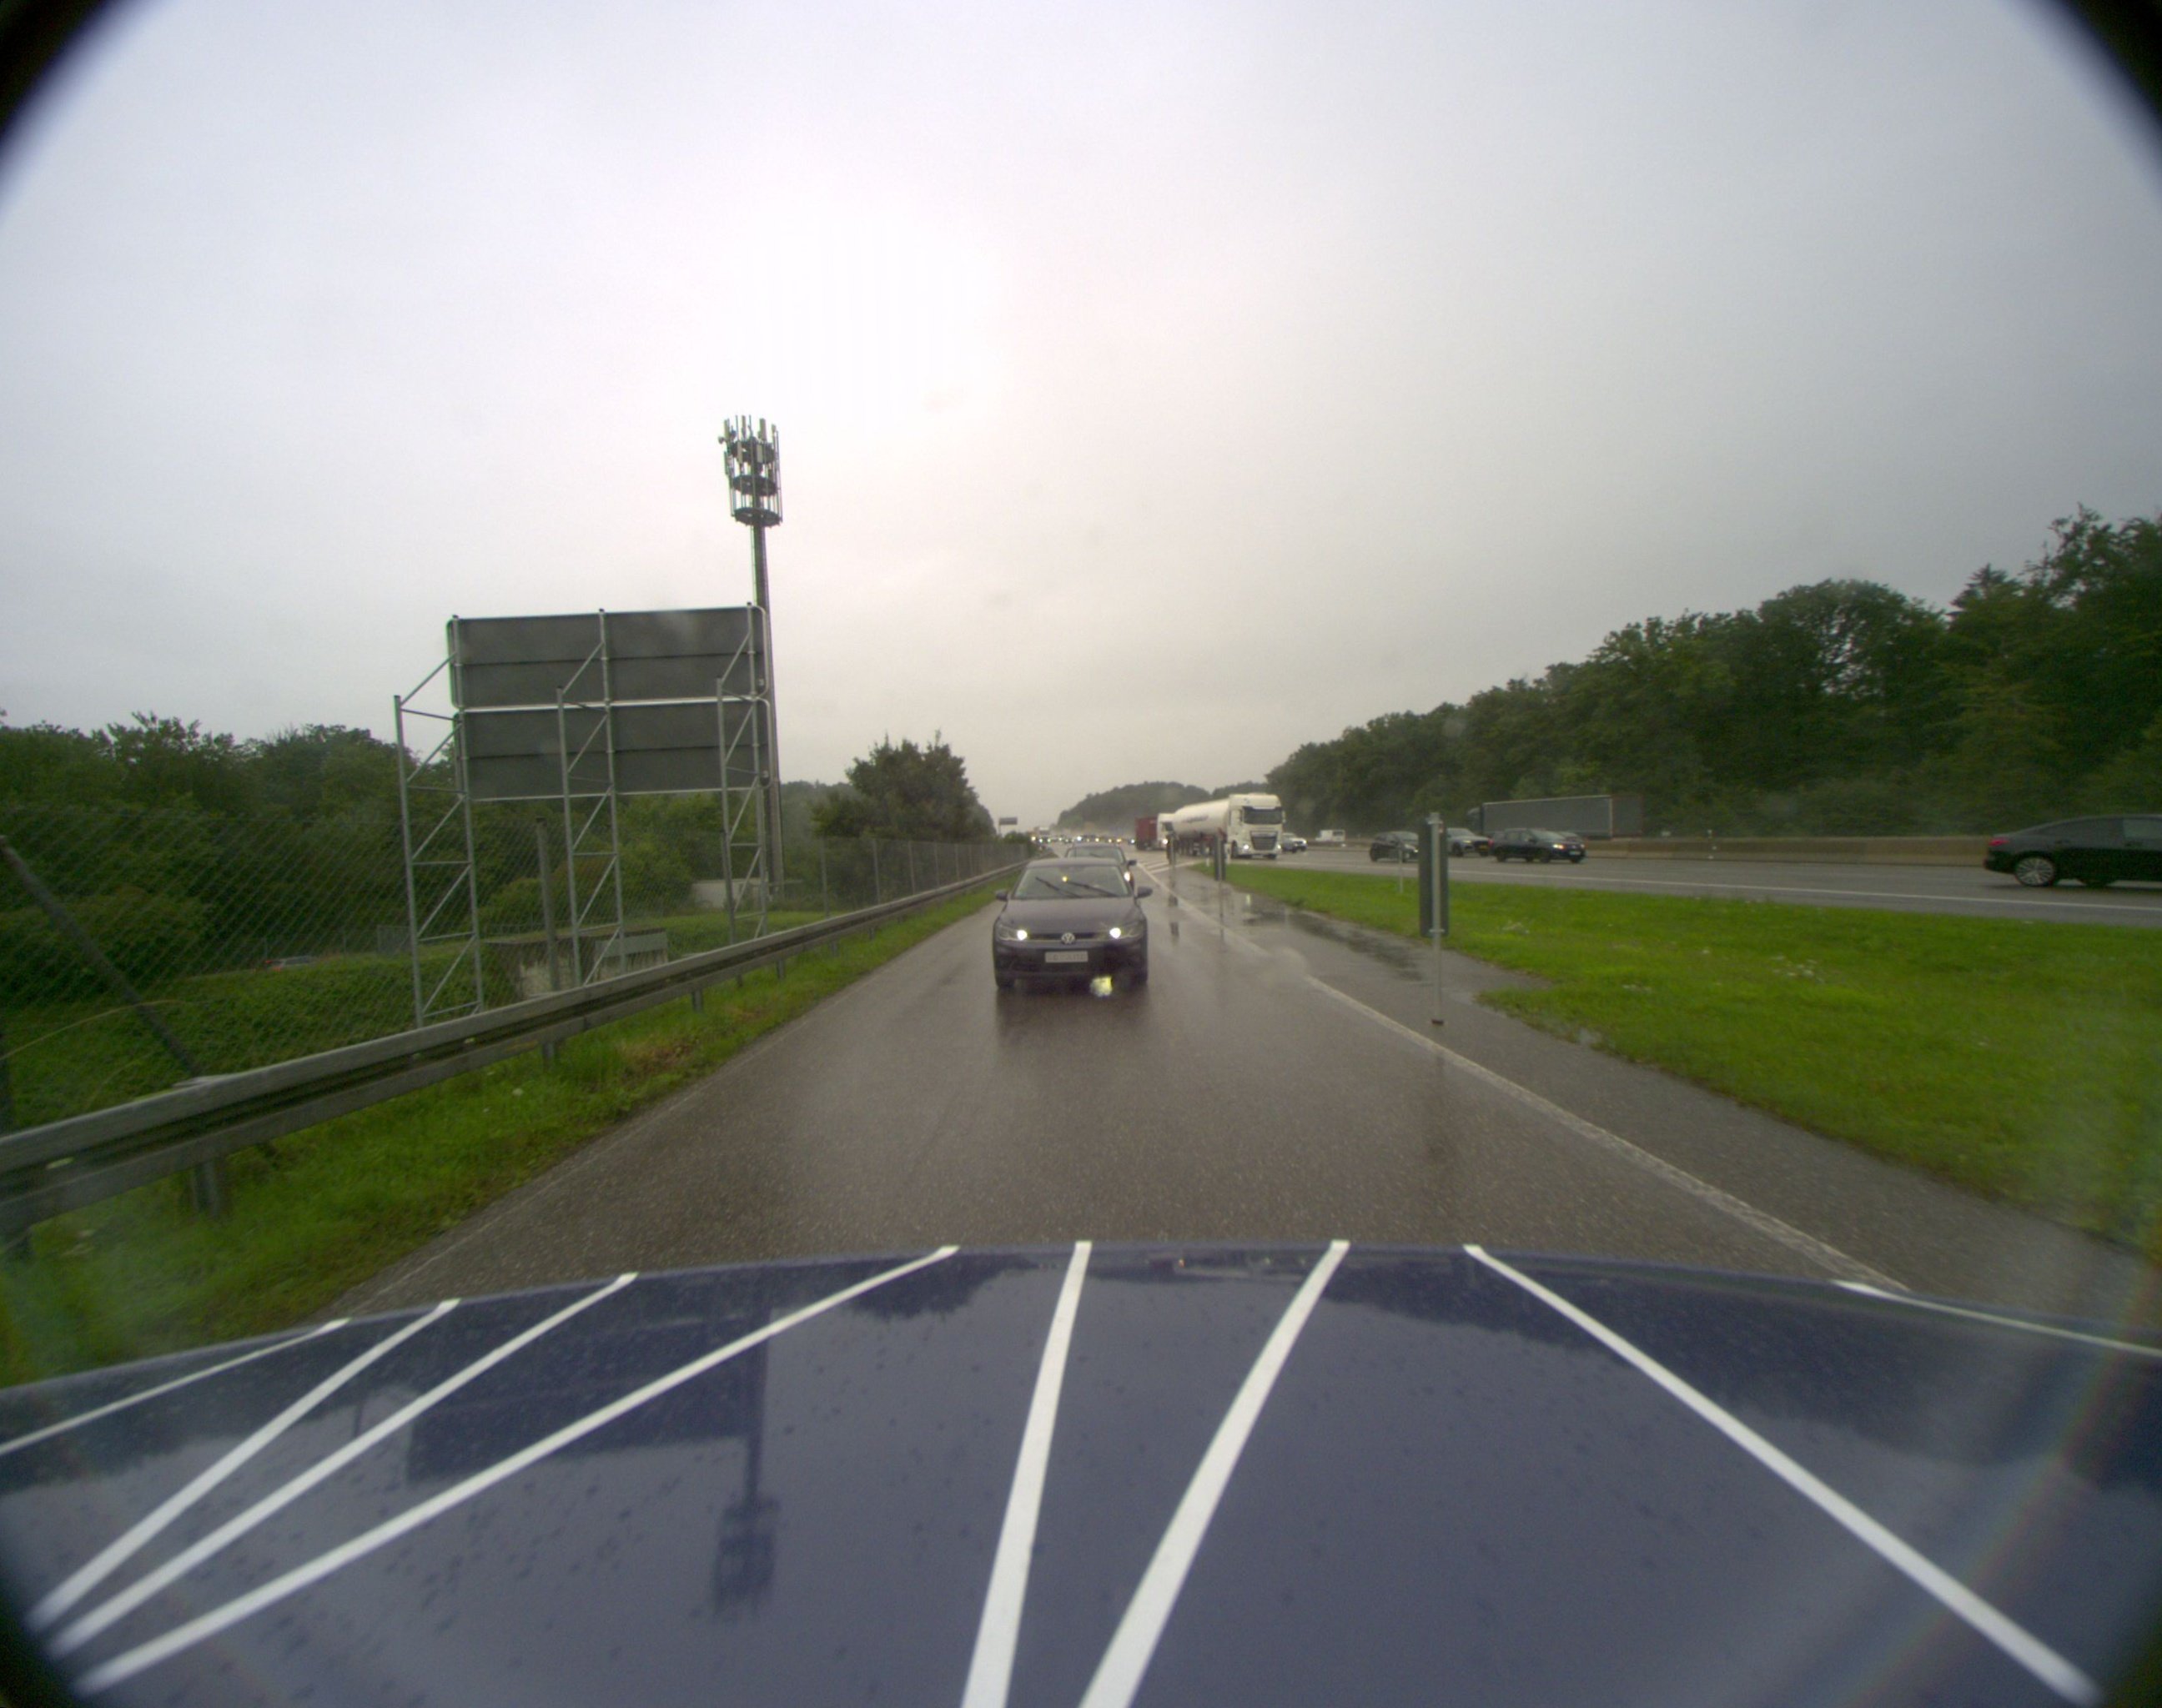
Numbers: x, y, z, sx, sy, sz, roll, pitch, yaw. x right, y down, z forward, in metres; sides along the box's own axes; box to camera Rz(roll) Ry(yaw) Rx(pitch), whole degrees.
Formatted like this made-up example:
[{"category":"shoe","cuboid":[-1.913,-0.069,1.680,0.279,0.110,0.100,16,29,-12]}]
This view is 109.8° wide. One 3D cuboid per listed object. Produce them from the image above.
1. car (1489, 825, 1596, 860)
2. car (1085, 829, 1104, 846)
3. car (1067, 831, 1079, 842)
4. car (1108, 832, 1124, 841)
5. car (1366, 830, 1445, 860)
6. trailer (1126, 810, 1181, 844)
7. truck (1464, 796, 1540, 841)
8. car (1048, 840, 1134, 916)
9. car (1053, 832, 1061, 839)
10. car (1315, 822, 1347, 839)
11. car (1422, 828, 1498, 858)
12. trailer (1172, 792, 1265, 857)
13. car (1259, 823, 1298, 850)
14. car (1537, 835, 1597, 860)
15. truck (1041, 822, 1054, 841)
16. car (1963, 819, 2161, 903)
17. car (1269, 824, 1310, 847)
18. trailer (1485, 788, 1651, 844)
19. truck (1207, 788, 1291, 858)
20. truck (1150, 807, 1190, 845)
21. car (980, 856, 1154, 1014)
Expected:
[{"category":"car","cuboid":[20.368,-0.502,33.766,1.824,1.406,4.120,-1,1,-9]},{"category":"car","cuboid":[1.775,-2.237,104.190,1.918,2.003,3.995,-7,4,-5]},{"category":"car","cuboid":[-1.701,-3.811,160.908,1.918,2.003,3.995,-7,4,-5]},{"category":"car","cuboid":[6.027,-3.022,132.217,1.789,1.550,4.094,-1,0,-12]},{"category":"car","cuboid":[15.755,-0.457,37.086,1.823,1.365,3.997,-1,1,-6]},{"category":"trailer","cuboid":[8.244,-3.067,88.826,2.692,3.486,15.110,-5,2,-8]},{"category":"truck","cuboid":[37.371,-3.144,67.726,3.051,3.726,5.638,-3,2,-9]},{"category":"car","cuboid":[0.279,0.511,19.263,1.810,1.532,3.999,-5,2,2]},{"category":"car","cuboid":[-6.384,-4.945,199.687,1.775,1.668,3.996,-4,2,-6]},{"category":"car","cuboid":[32.643,-3.056,99.344,2.000,2.003,4.478,-4,3,-9]},{"category":"car","cuboid":[22.408,-0.685,45.121,1.824,1.659,4.400,0,1,-9]},{"category":"trailer","cuboid":[9.279,-1.961,52.958,2.771,4.003,11.030,-1,1,-9]},{"category":"car","cuboid":[15.889,-1.426,61.311,1.862,2.002,3.997,-1,2,-5]},{"category":"car","cuboid":[32.604,-0.410,51.079,1.414,1.324,3.278,-7,-2,-11]},{"category":"truck","cuboid":[-7.692,-5.196,176.711,2.597,4.121,5.228,-5,1,-2]},{"category":"car","cuboid":[20.000,0.097,14.026,1.886,1.472,4.496,-1,2,-12]},{"category":"car","cuboid":[18.532,-1.637,67.725,2.000,2.002,3.996,-2,1,-9]},{"category":"trailer","cuboid":[38.399,-2.914,60.931,3.037,3.791,13.393,-3,2,-9]},{"category":"truck","cuboid":[10.258,-1.859,47.187,2.759,3.986,6.501,-2,1,-9]},{"category":"truck","cuboid":[9.402,-2.943,80.641,2.698,3.636,5.320,-5,2,-8]},{"category":"car","cuboid":[-0.142,0.821,9.731,1.670,1.395,4.260,-3,1,0]}]
